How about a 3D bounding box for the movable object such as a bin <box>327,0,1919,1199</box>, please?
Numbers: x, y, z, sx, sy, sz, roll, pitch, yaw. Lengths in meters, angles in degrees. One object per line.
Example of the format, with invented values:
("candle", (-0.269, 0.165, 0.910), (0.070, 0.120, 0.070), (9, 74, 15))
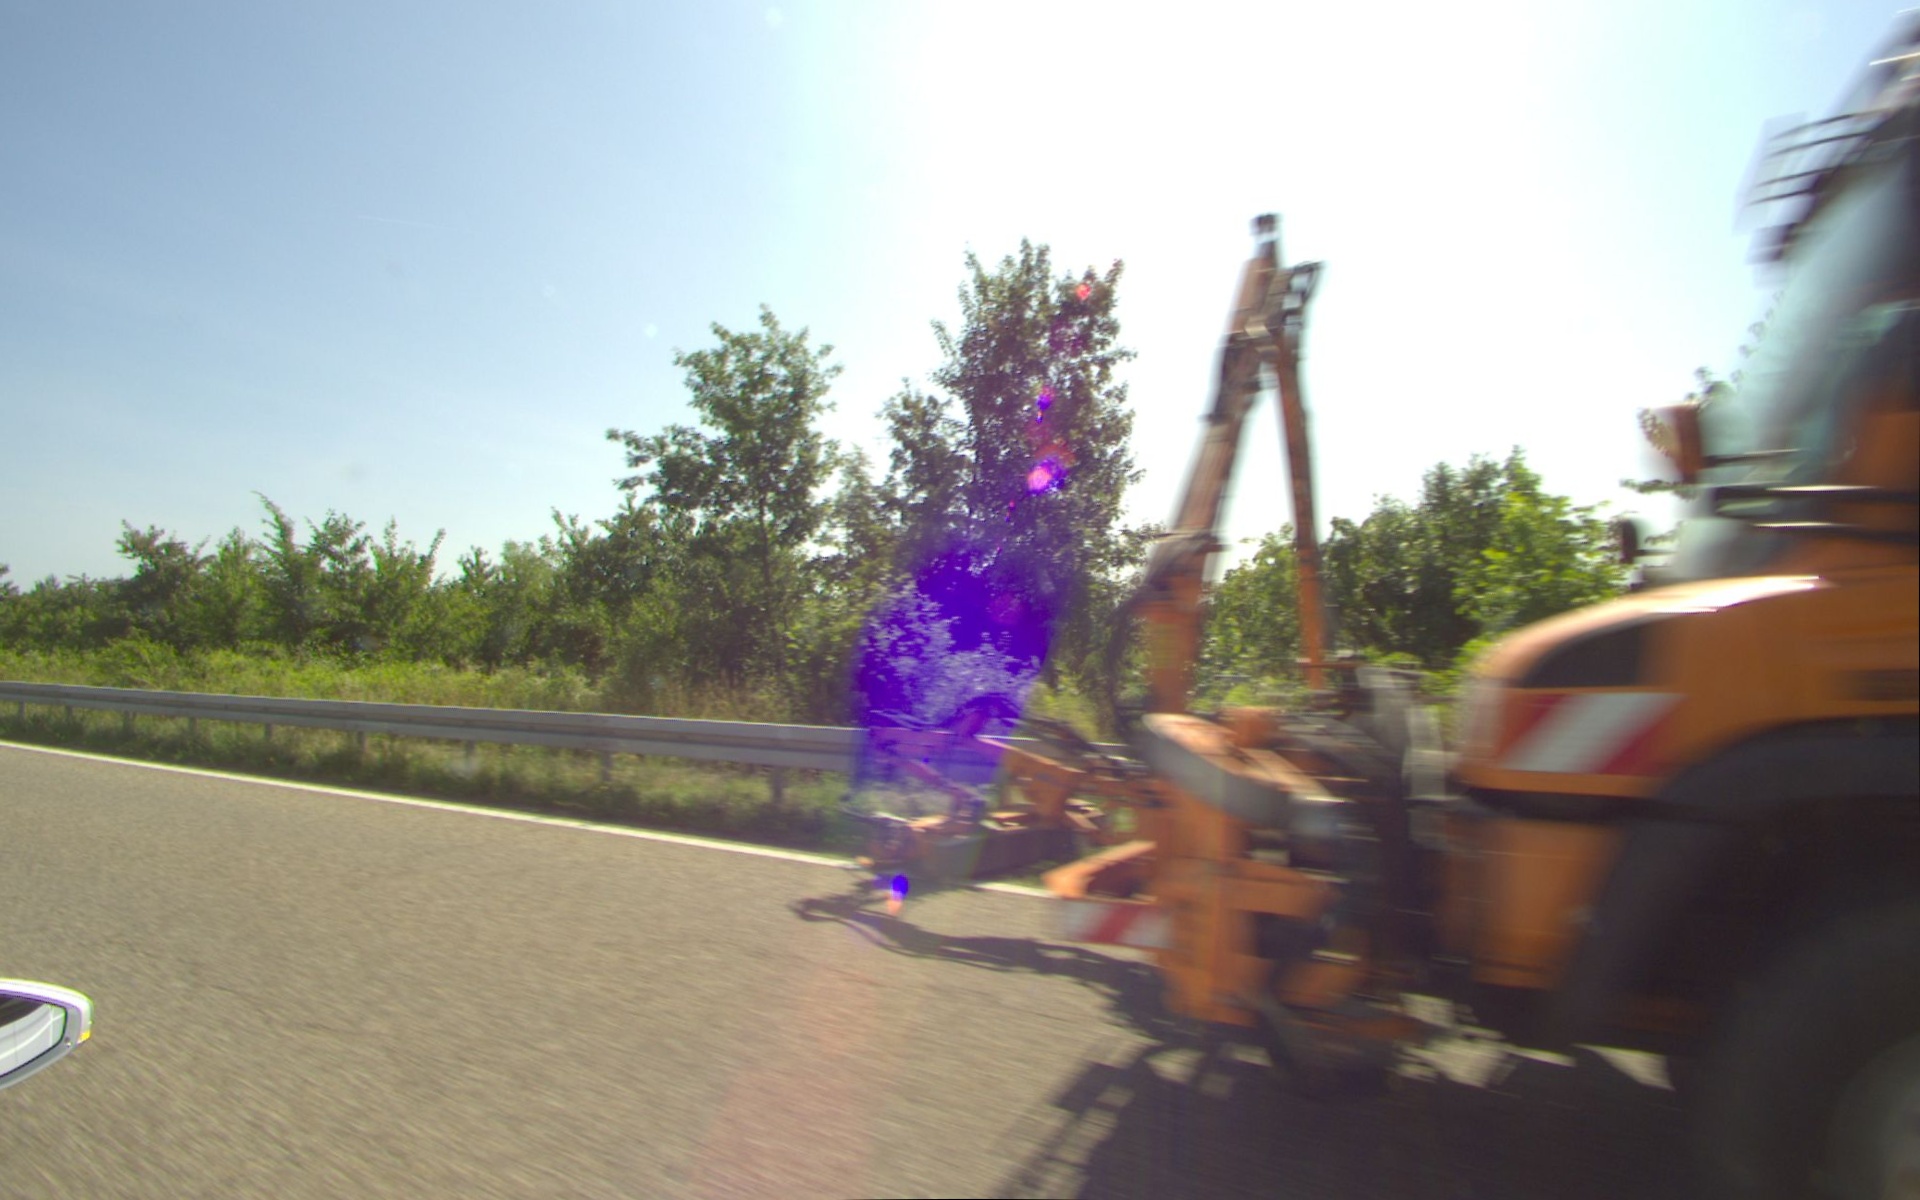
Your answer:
("movable object such as a bin", (1.995, -0.379, 3.001), (9.307, 3.889, 2.749), (-1, -1, 31))
